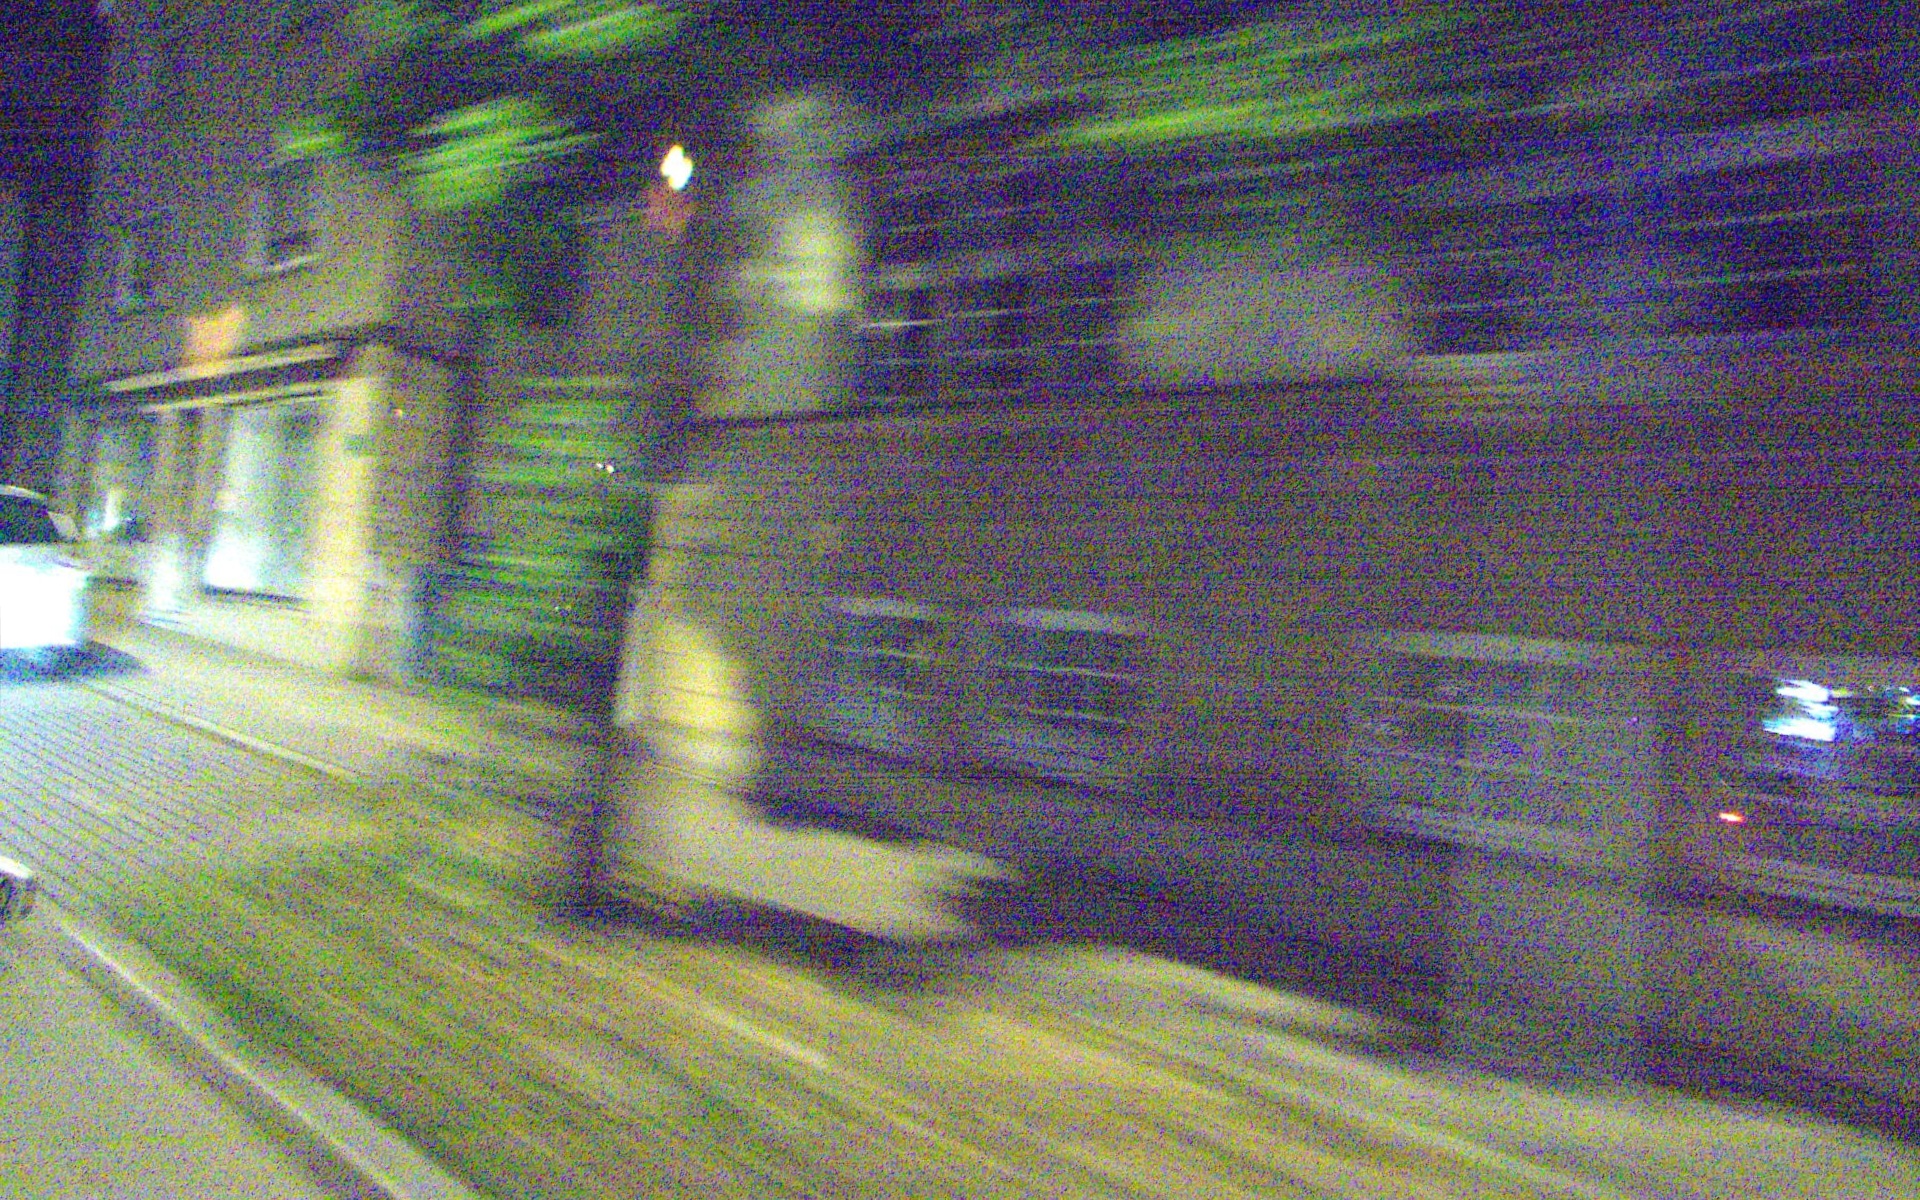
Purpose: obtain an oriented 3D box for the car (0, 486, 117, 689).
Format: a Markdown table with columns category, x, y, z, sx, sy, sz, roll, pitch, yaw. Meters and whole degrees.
| category | x | y | z | sx | sy | sz | roll | pitch | yaw |
| --- | --- | --- | --- | --- | --- | --- | --- | --- | --- |
| car | -9.472 | -0.315 | 8.925 | 4.203 | 1.614 | 1.813 | 7 | 0 | 33 |
